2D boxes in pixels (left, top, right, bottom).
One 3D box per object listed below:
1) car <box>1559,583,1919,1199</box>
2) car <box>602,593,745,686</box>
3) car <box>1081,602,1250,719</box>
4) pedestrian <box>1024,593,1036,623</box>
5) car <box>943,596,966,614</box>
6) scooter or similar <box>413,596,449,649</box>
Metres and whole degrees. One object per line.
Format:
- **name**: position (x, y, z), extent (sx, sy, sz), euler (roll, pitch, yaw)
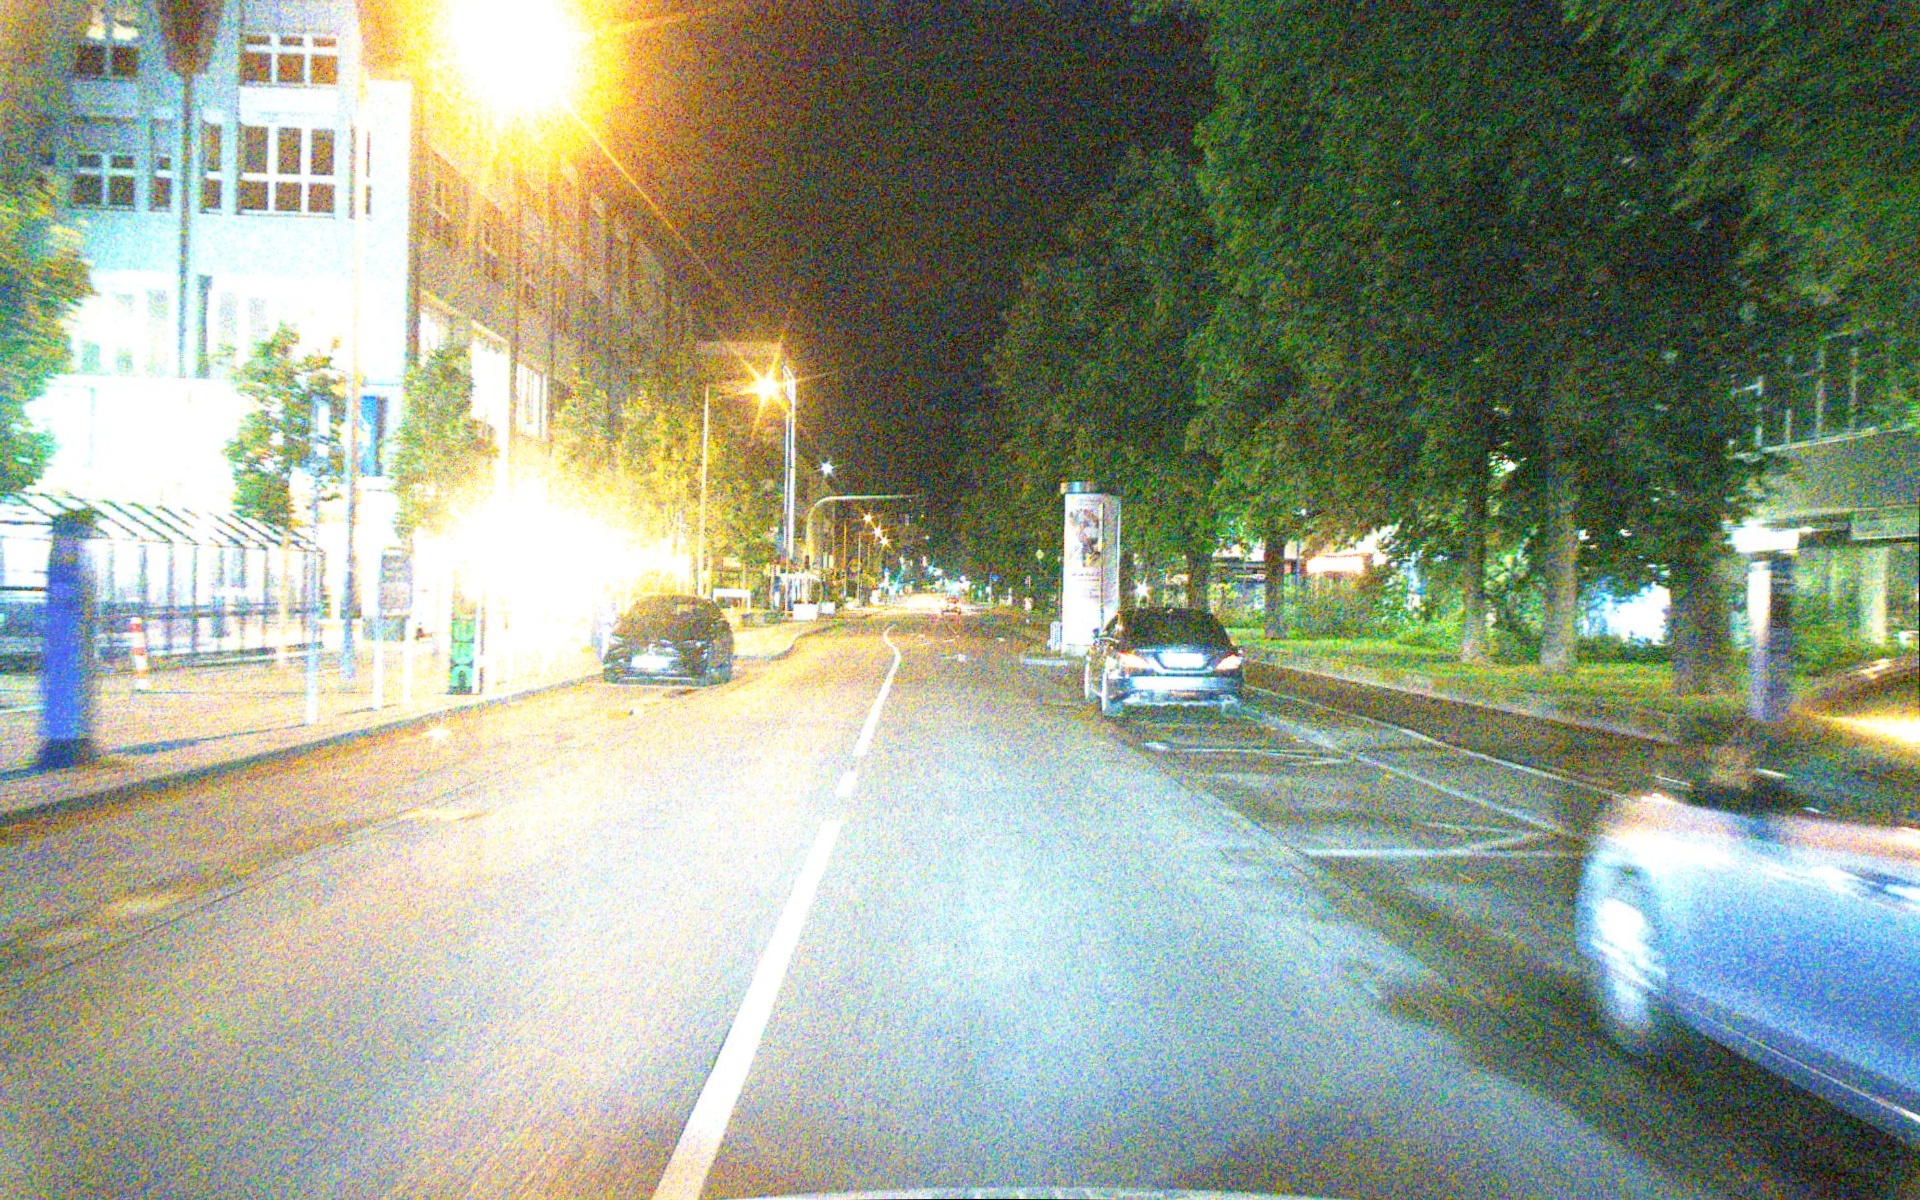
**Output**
- **car**: position (3.149, 0.741, 4.364), extent (1.655, 1.563, 4.015), euler (0, 0, -1)
- **car**: position (-4.913, 0.630, 28.959), extent (1.706, 1.438, 4.495), euler (2, 0, -1)
- **car**: position (2.755, 0.757, 23.123), extent (1.728, 1.439, 4.807), euler (0, 0, 0)
- **pedestrian**: position (4.321, 0.481, 102.694), extent (0.688, 1.850, 1.082), euler (0, 0, -1)
- **car**: position (-0.497, 0.449, 149.484), extent (1.953, 1.672, 3.999), euler (0, 0, -1)
- **scooter or similar**: position (-12.671, 0.519, 39.618), extent (0.379, 1.242, 1.344), euler (1, 0, 1)
